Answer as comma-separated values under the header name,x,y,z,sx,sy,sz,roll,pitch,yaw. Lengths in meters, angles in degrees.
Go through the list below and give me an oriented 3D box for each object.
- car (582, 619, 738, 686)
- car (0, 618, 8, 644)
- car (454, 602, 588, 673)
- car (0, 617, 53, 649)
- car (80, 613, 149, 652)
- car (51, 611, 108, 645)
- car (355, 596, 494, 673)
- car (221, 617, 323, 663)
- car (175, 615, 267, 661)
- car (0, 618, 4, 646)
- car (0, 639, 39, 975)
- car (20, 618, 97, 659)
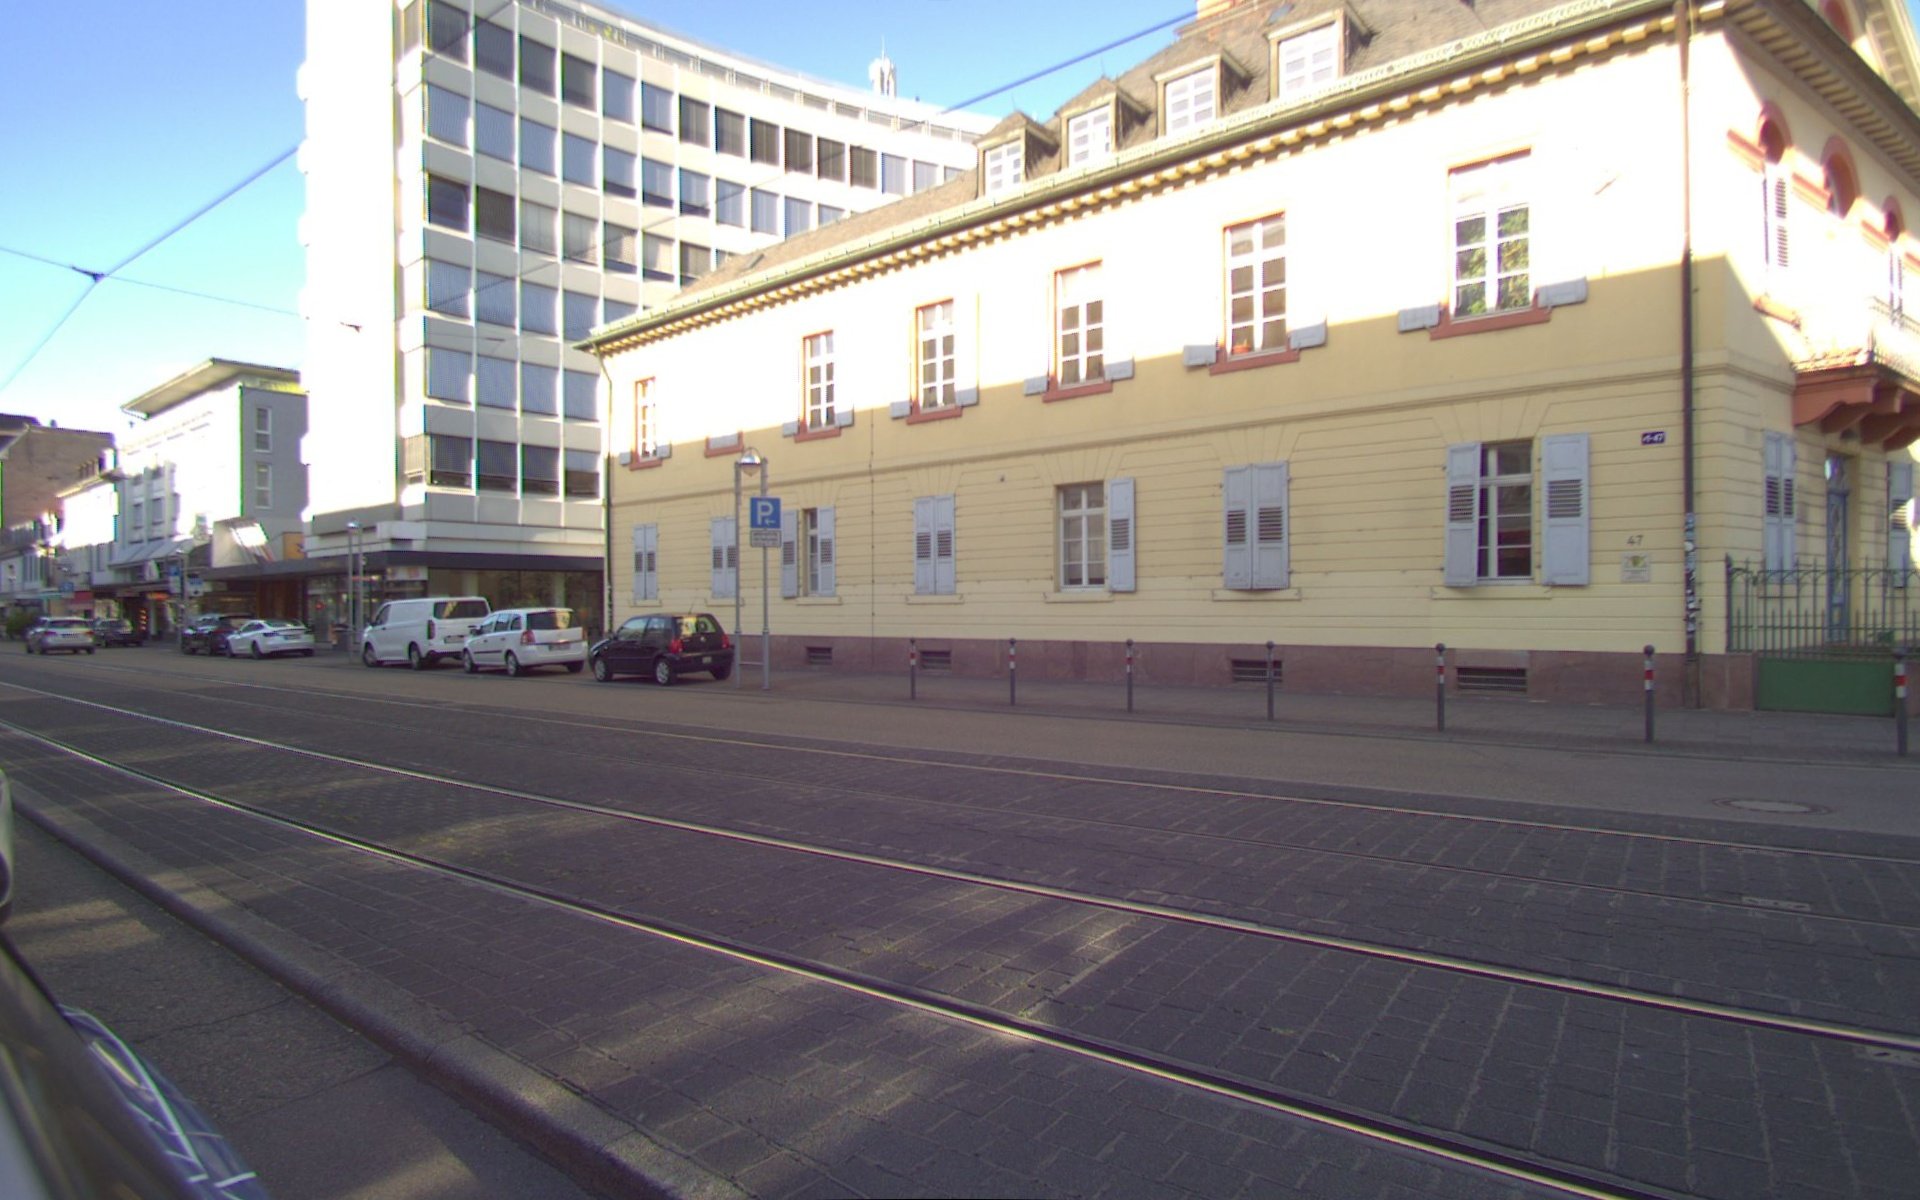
name,x,y,z,sx,sy,sz,roll,pitch,yaw
car,-6.394,1.065,21.502,3.210,1.263,1.667,-1,0,39
car,-78.733,2.504,81.807,3.995,2.029,1.974,-1,0,38
car,-11.034,0.890,25.315,4.005,1.621,1.619,-1,0,43
car,-62.914,2.182,68.092,3.996,2.058,2.172,-1,-1,39
car,-43.576,1.652,52.136,3.995,1.874,1.974,-1,0,38
car,-50.351,1.587,57.834,3.995,1.896,1.768,-1,-1,38
car,-15.365,0.969,28.945,4.619,2.029,2.014,-1,-1,41
car,-25.605,1.443,37.632,4.369,1.541,1.974,-1,0,39
car,-29.922,1.489,40.959,4.103,1.717,1.975,-1,0,38
car,-71.535,2.363,74.022,3.998,2.029,1.973,-1,-1,41
car,-6.108,0.901,4.771,3.992,1.393,1.862,-1,0,36
car,-38.066,1.604,42.707,3.994,1.609,1.739,-1,-1,38
